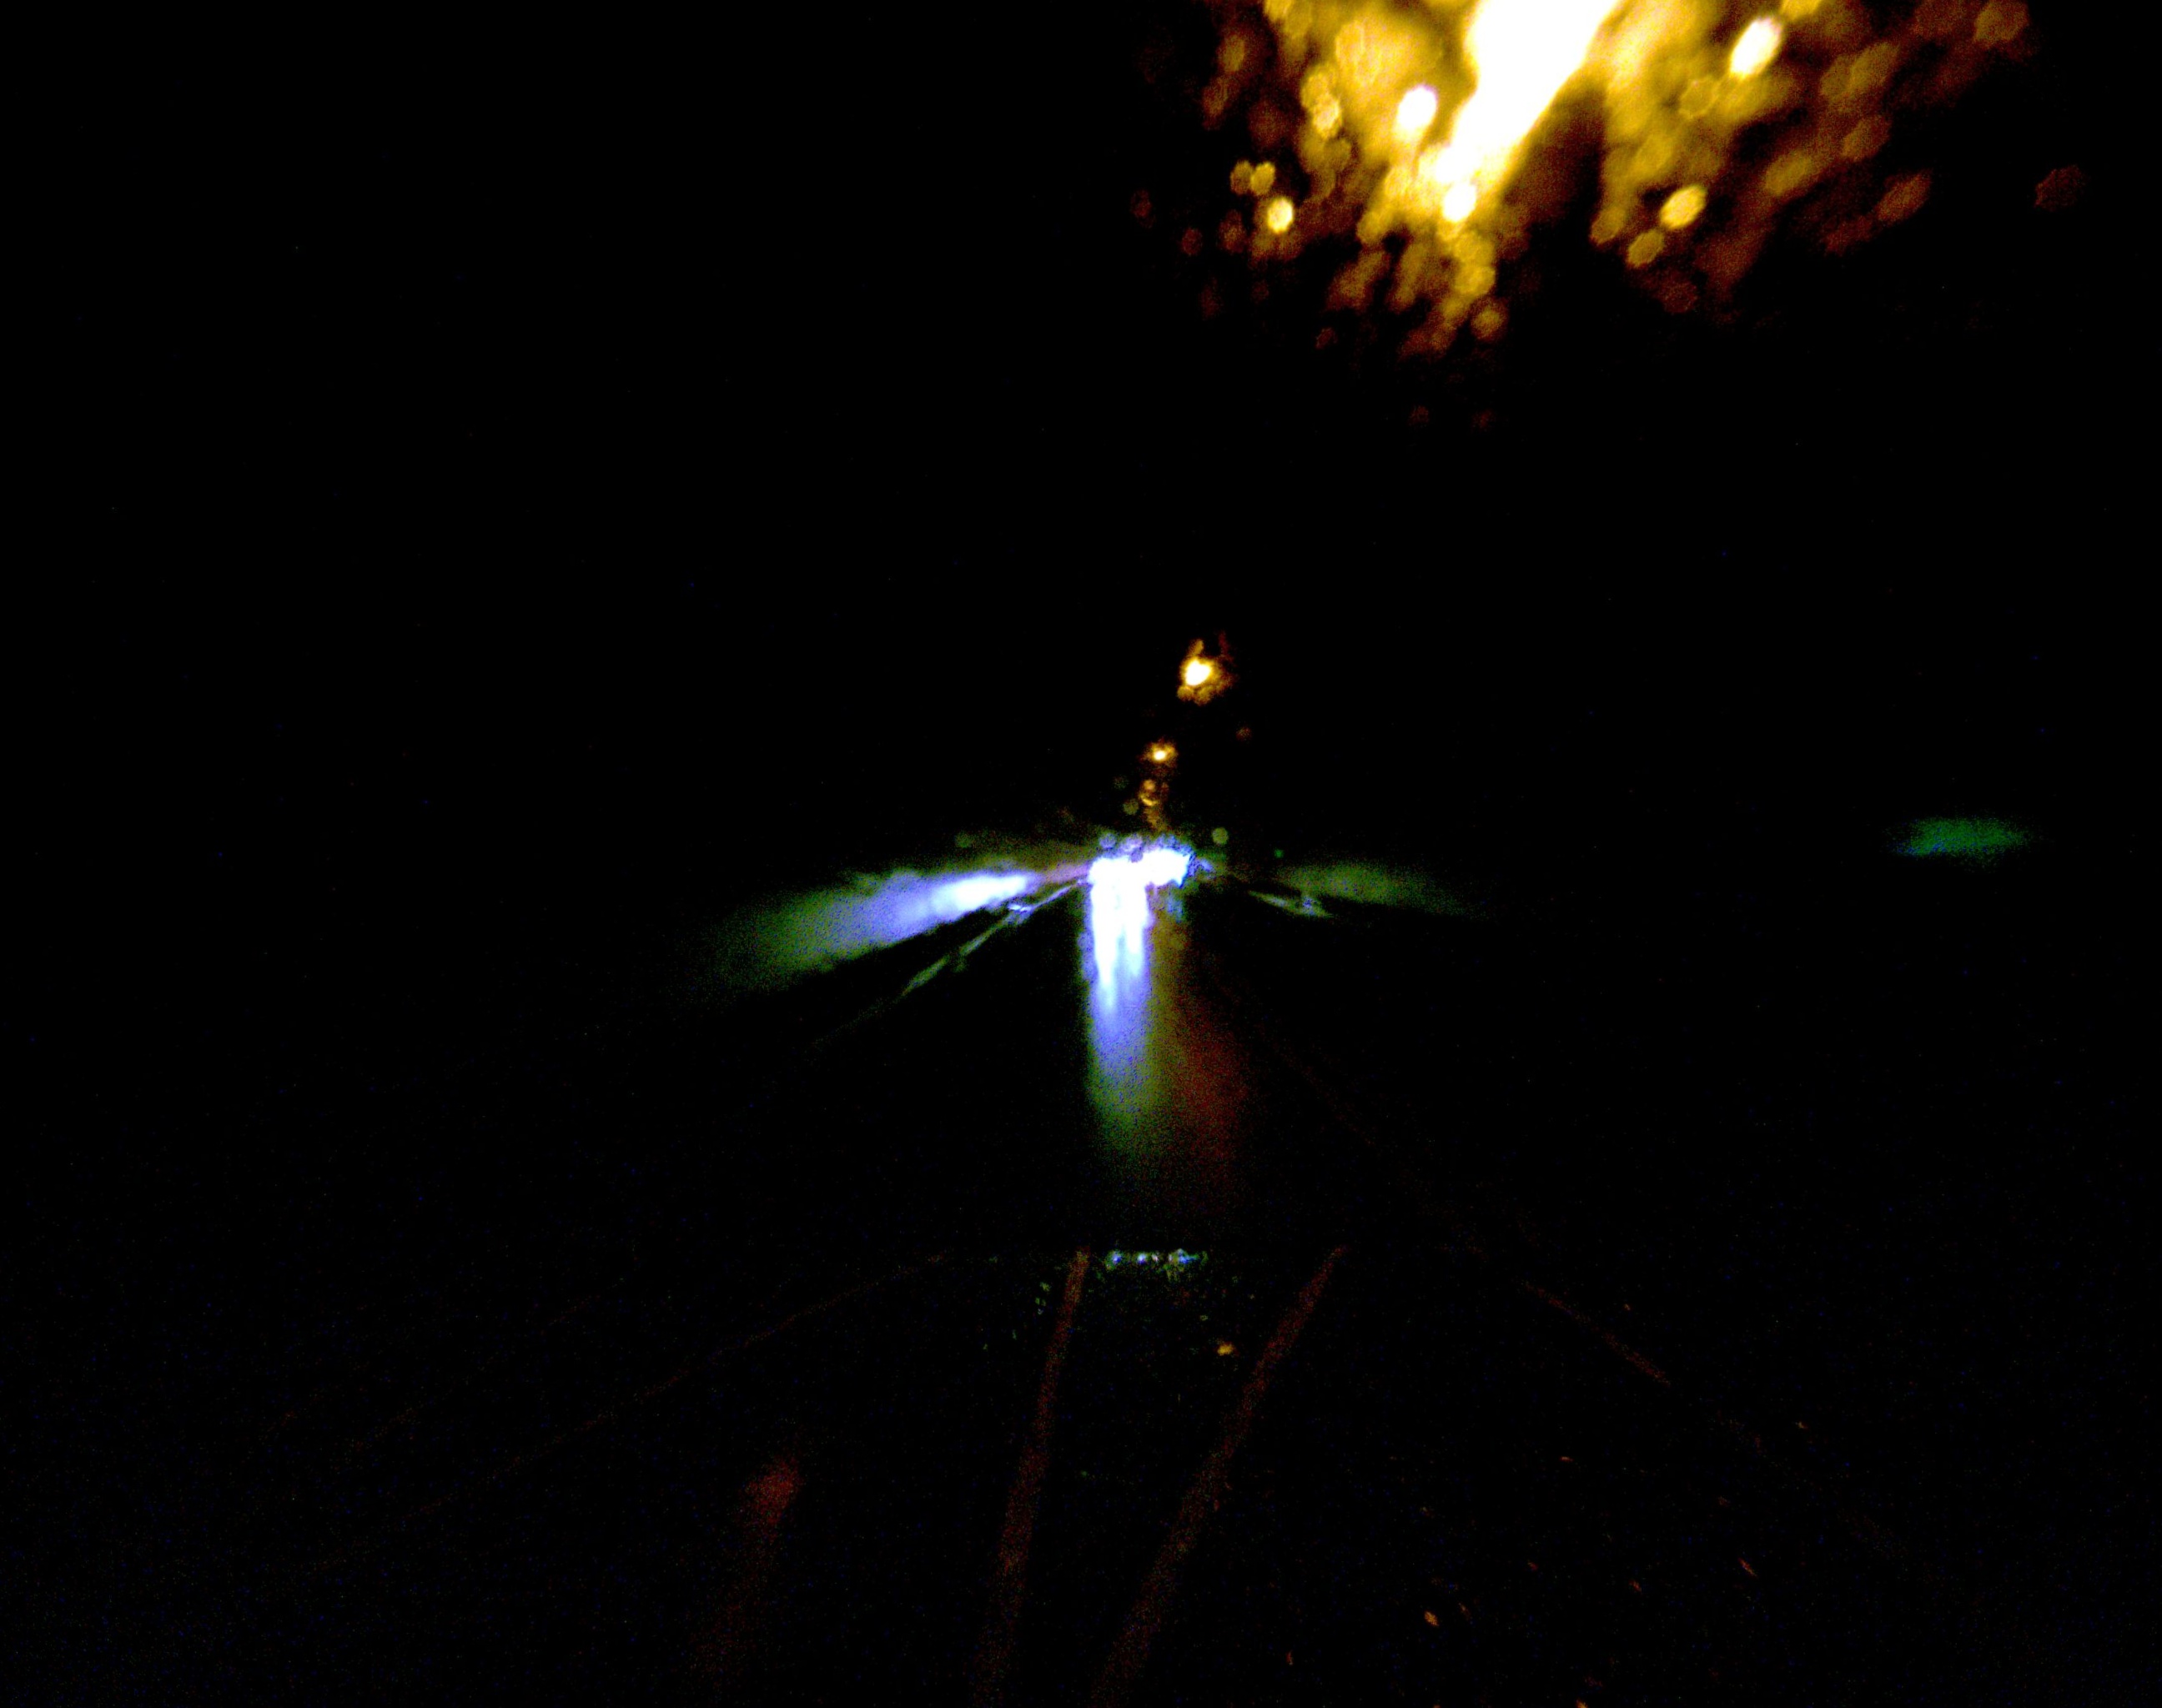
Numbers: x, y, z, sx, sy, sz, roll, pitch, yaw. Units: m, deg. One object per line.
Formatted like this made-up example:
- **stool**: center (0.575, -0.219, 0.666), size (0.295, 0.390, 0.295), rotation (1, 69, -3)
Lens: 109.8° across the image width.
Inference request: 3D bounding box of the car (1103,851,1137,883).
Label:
- **car**: center (2.227, 0.689, 43.310), size (1.729, 1.595, 4.000), rotation (-5, 1, 4)
